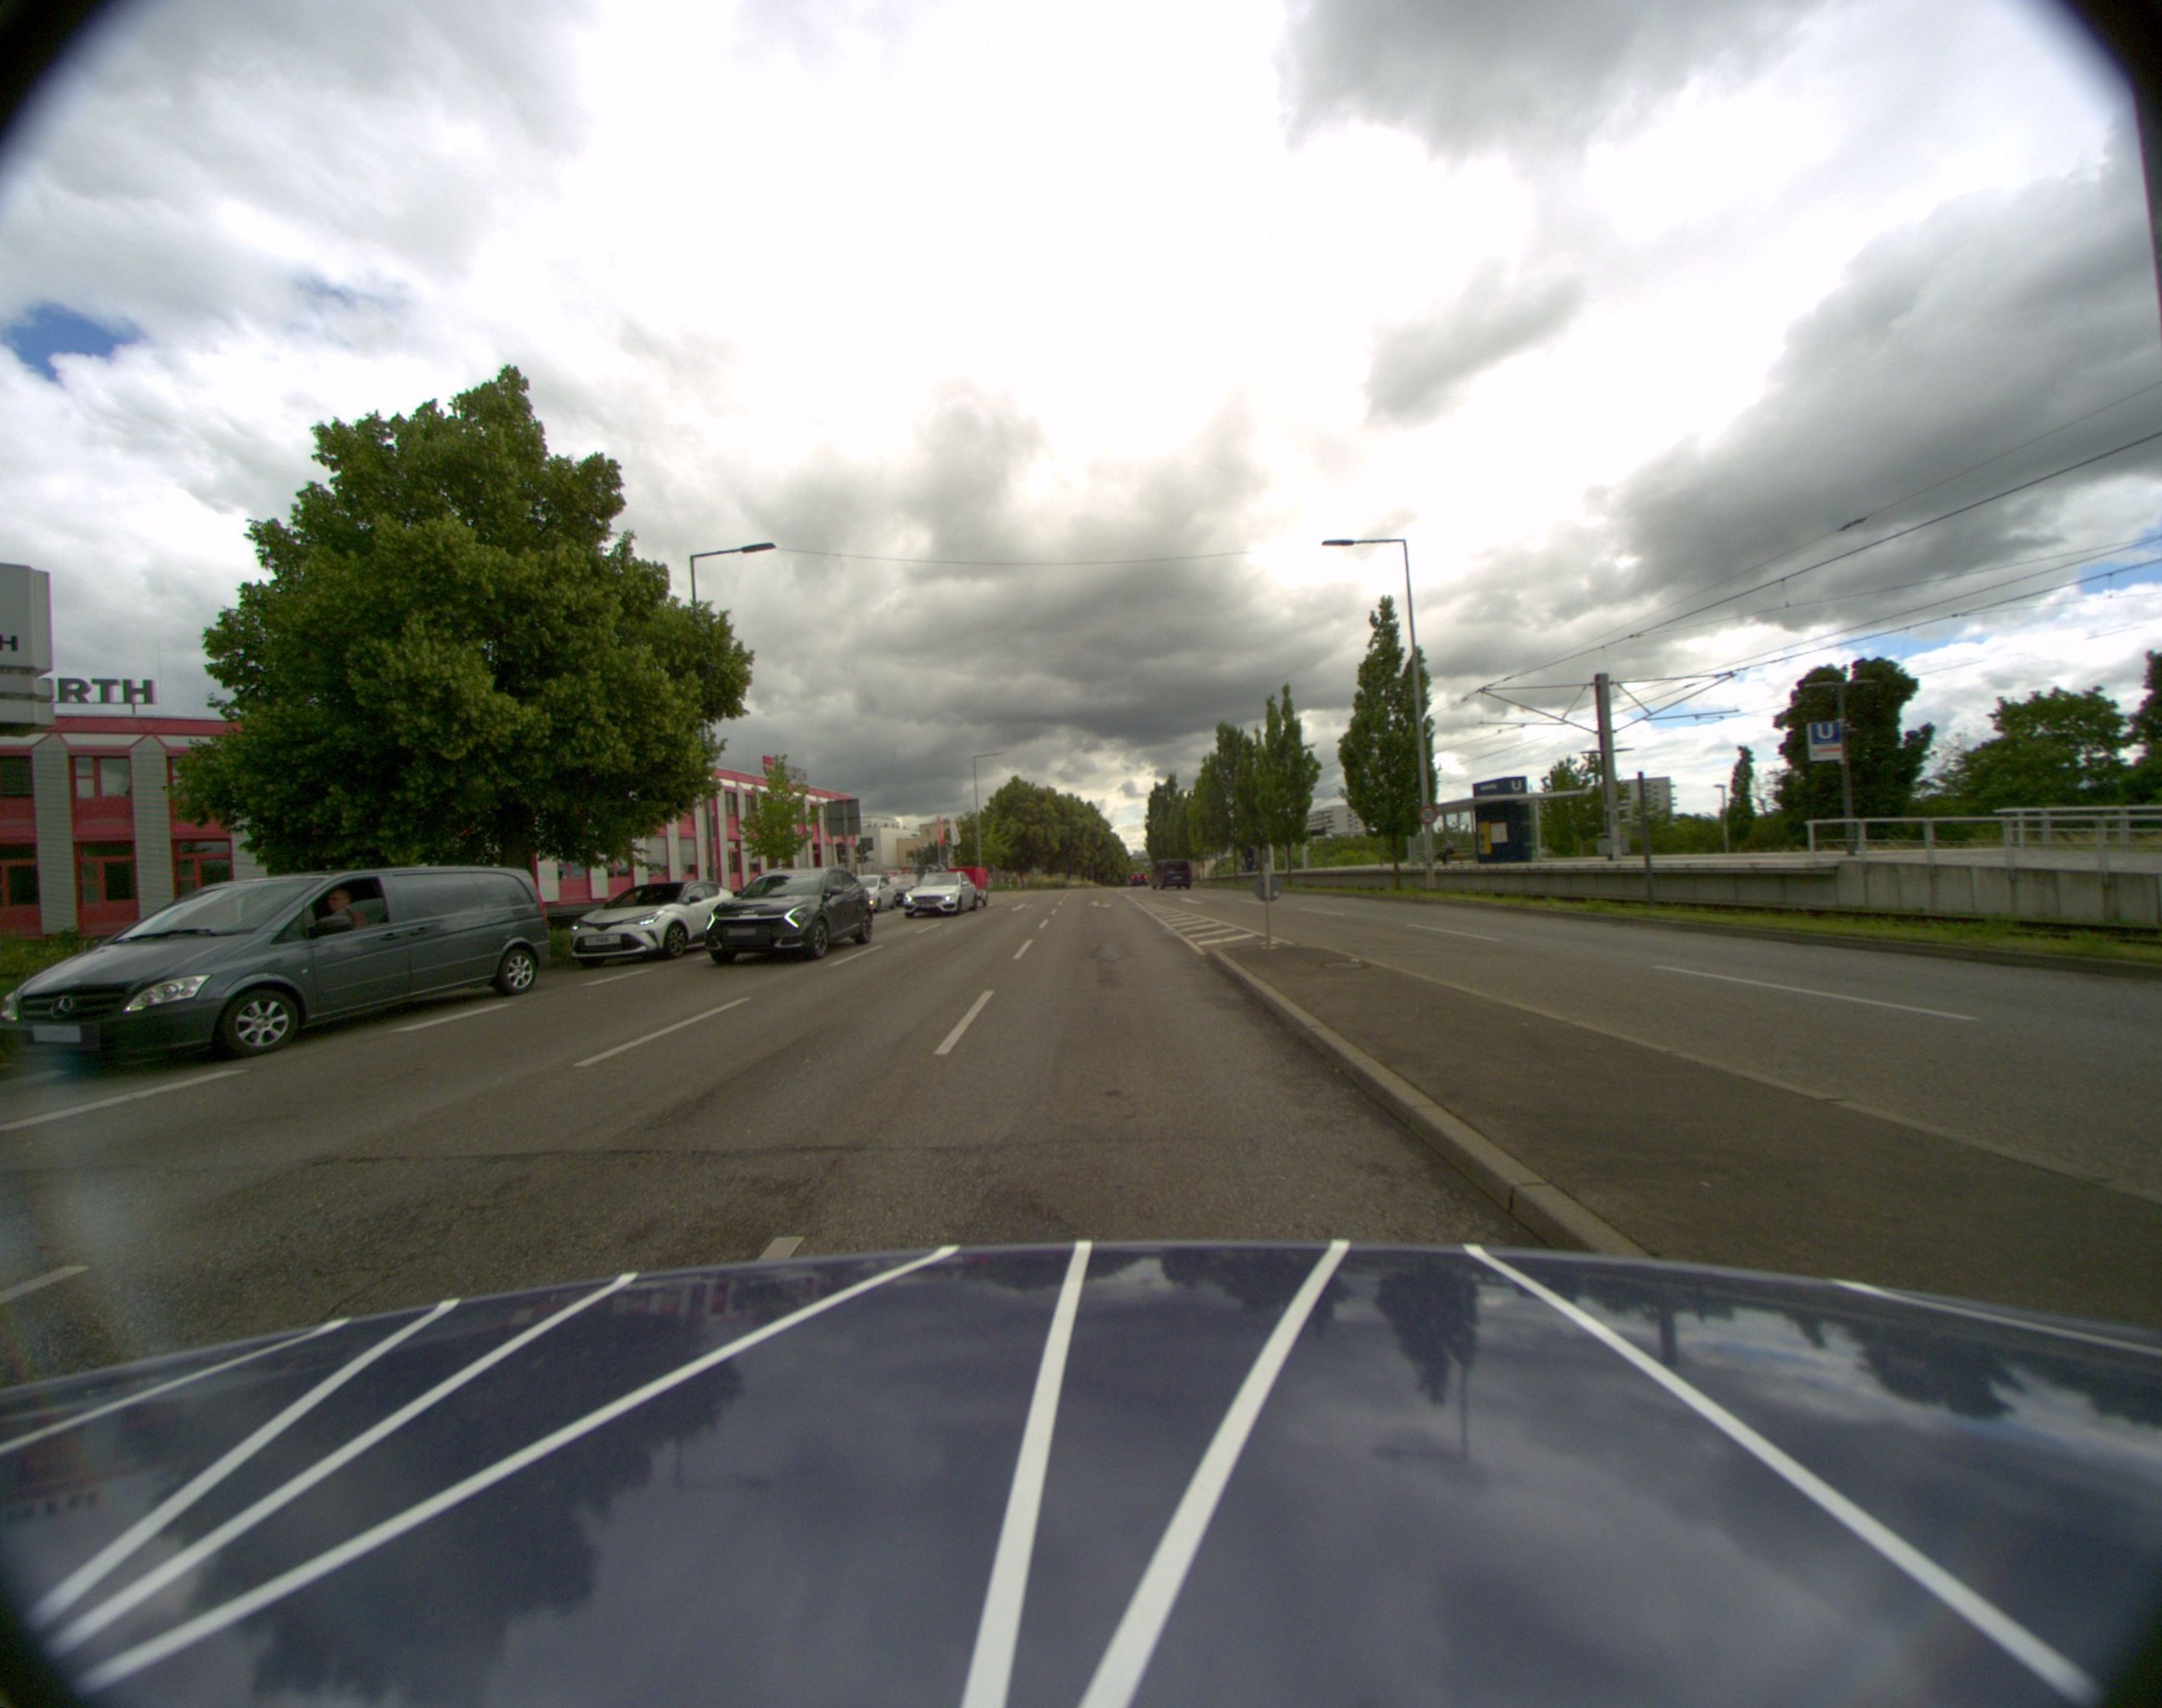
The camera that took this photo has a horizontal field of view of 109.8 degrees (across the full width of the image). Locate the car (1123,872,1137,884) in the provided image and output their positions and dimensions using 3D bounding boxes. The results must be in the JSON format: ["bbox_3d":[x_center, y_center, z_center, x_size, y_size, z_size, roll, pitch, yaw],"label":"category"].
[{"bbox_3d":[6.999,3.430,109.570,1.760,1.519,3.600,-2,1,1],"label":"car"}]

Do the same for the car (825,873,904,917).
[{"bbox_3d":[-8.415,1.569,29.957,1.763,1.431,4.370,-3,0,0],"label":"car"}]

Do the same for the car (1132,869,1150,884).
[{"bbox_3d":[6.544,2.471,83.132,1.740,1.499,3.660,-2,0,1],"label":"car"}]

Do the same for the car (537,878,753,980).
[{"bbox_3d":[-8.584,1.389,15.478,1.844,1.507,4.106,-6,0,1],"label":"car"}]

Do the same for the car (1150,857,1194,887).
[{"bbox_3d":[5.807,1.126,49.030,1.893,1.802,5.091,-2,-1,-4],"label":"car"}]

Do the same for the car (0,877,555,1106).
[{"bbox_3d":[-8.745,1.266,8.822,1.763,1.764,4.676,-5,-1,2],"label":"car"}]

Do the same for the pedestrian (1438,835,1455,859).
[{"bbox_3d":[17.674,-0.345,36.747,0.601,1.148,0.447,-2,1,1],"label":"pedestrian"}]

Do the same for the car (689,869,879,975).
[{"bbox_3d":[-5.356,1.140,14.377,1.798,1.521,4.218,-2,1,1],"label":"car"}]

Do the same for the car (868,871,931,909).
[{"bbox_3d":[-8.155,1.583,34.538,1.763,1.431,4.370,-3,0,0],"label":"car"}]

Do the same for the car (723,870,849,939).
[{"bbox_3d":[-8.435,1.380,22.151,1.865,1.648,4.209,-4,-1,1],"label":"car"}]

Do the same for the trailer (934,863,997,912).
[{"bbox_3d":[-4.575,1.287,30.557,1.775,1.650,3.996,-2,1,1],"label":"trailer"}]

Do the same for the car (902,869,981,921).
[{"bbox_3d":[-4.729,1.345,26.376,1.775,1.442,4.401,-2,1,1],"label":"car"}]
